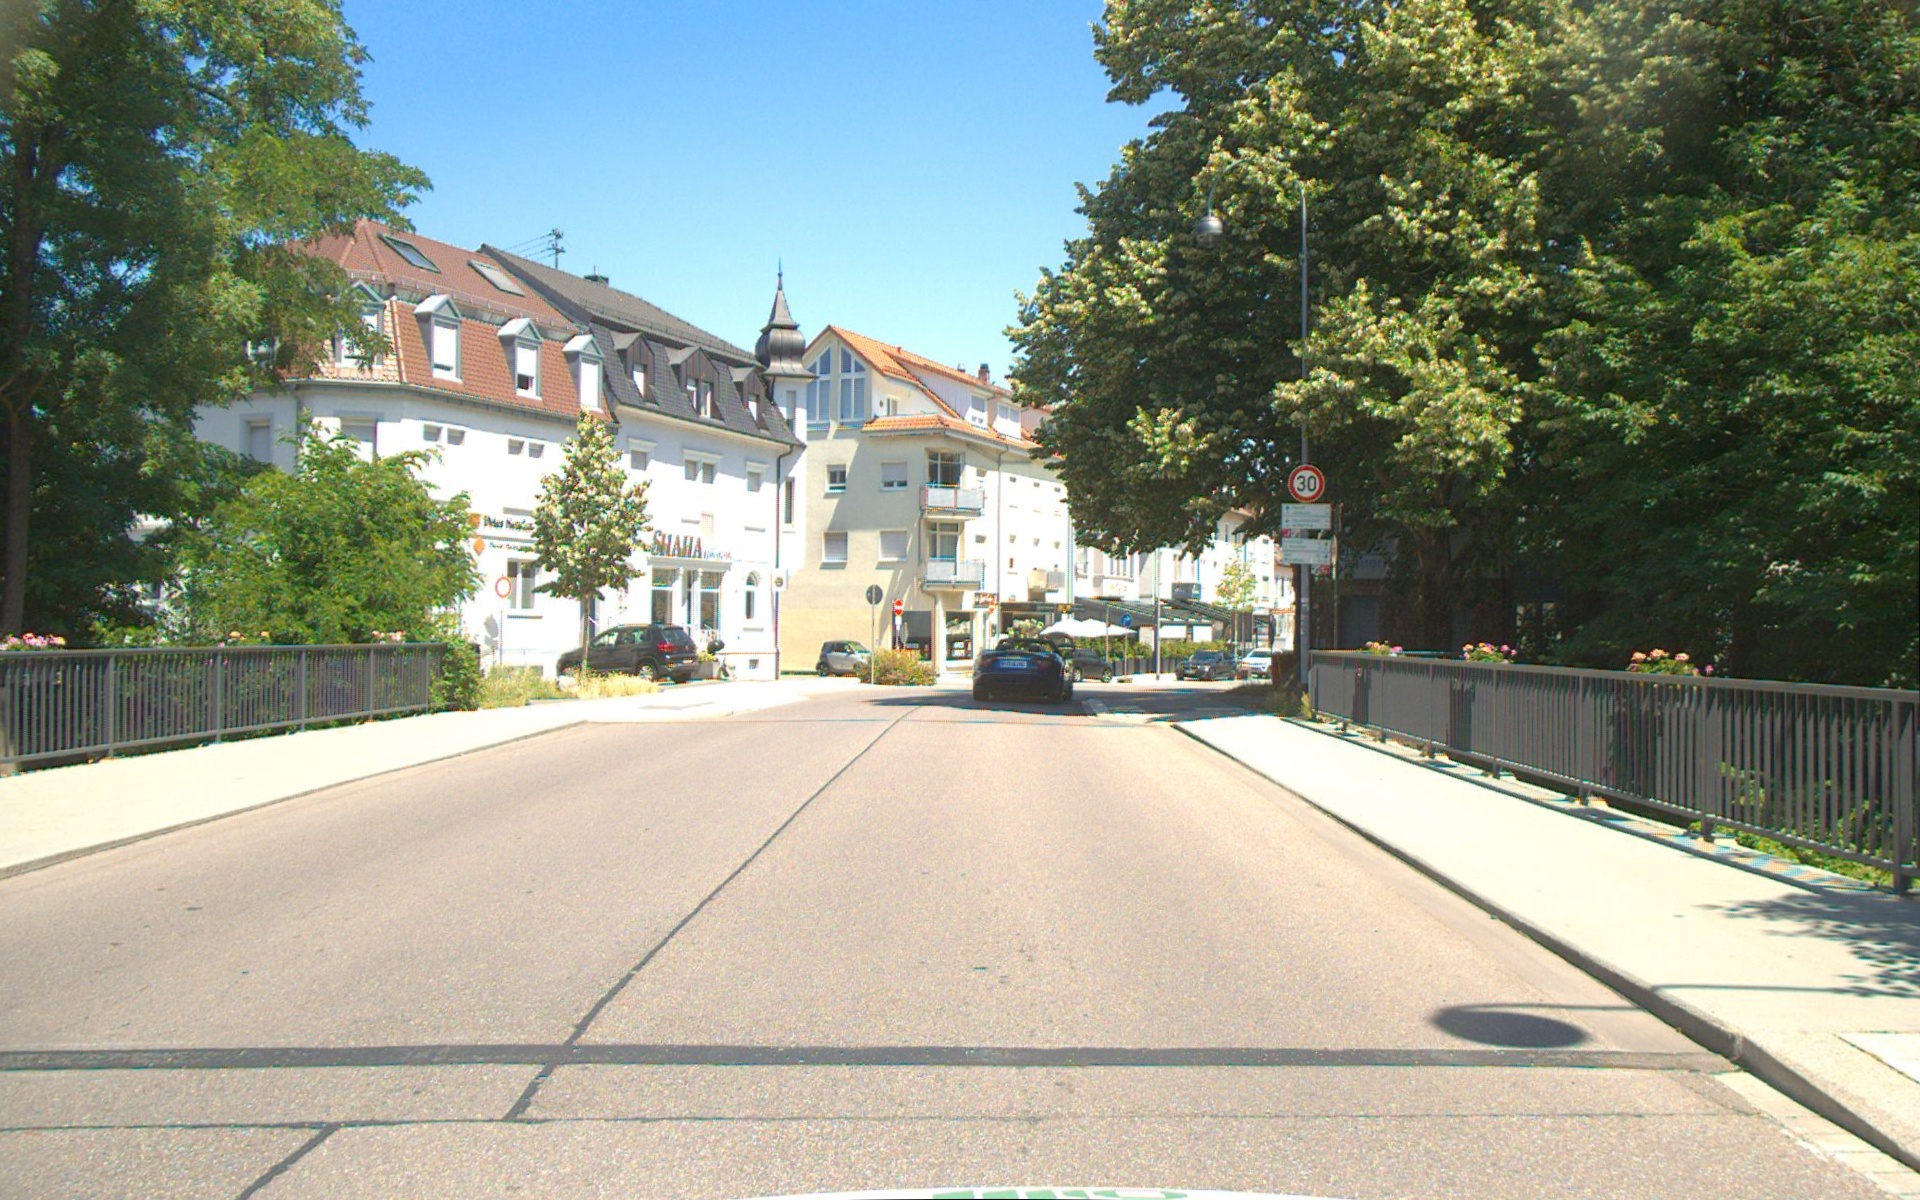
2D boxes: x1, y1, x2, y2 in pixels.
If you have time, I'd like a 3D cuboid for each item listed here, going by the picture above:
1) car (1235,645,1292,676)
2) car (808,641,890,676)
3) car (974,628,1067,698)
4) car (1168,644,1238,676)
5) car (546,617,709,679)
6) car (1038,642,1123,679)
[{"bbox_3d":[15.875,3.130,86.428,1.615,1.505,3.931,1,0,31],"label":"car"},{"bbox_3d":[-4.877,2.545,72.625,3.196,1.484,1.691,0,-1,22],"label":"car"},{"bbox_3d":[1.252,1.319,35.752,1.832,1.366,4.596,1,-1,1],"label":"car"},{"bbox_3d":[11.778,2.879,79.950,1.799,1.454,4.774,1,-1,29],"label":"car"},{"bbox_3d":[-9.386,1.347,46.758,4.095,1.691,1.970,0,-2,22],"label":"car"},{"bbox_3d":[5.209,2.614,71.169,1.684,1.486,4.113,2,-1,36],"label":"car"}]
